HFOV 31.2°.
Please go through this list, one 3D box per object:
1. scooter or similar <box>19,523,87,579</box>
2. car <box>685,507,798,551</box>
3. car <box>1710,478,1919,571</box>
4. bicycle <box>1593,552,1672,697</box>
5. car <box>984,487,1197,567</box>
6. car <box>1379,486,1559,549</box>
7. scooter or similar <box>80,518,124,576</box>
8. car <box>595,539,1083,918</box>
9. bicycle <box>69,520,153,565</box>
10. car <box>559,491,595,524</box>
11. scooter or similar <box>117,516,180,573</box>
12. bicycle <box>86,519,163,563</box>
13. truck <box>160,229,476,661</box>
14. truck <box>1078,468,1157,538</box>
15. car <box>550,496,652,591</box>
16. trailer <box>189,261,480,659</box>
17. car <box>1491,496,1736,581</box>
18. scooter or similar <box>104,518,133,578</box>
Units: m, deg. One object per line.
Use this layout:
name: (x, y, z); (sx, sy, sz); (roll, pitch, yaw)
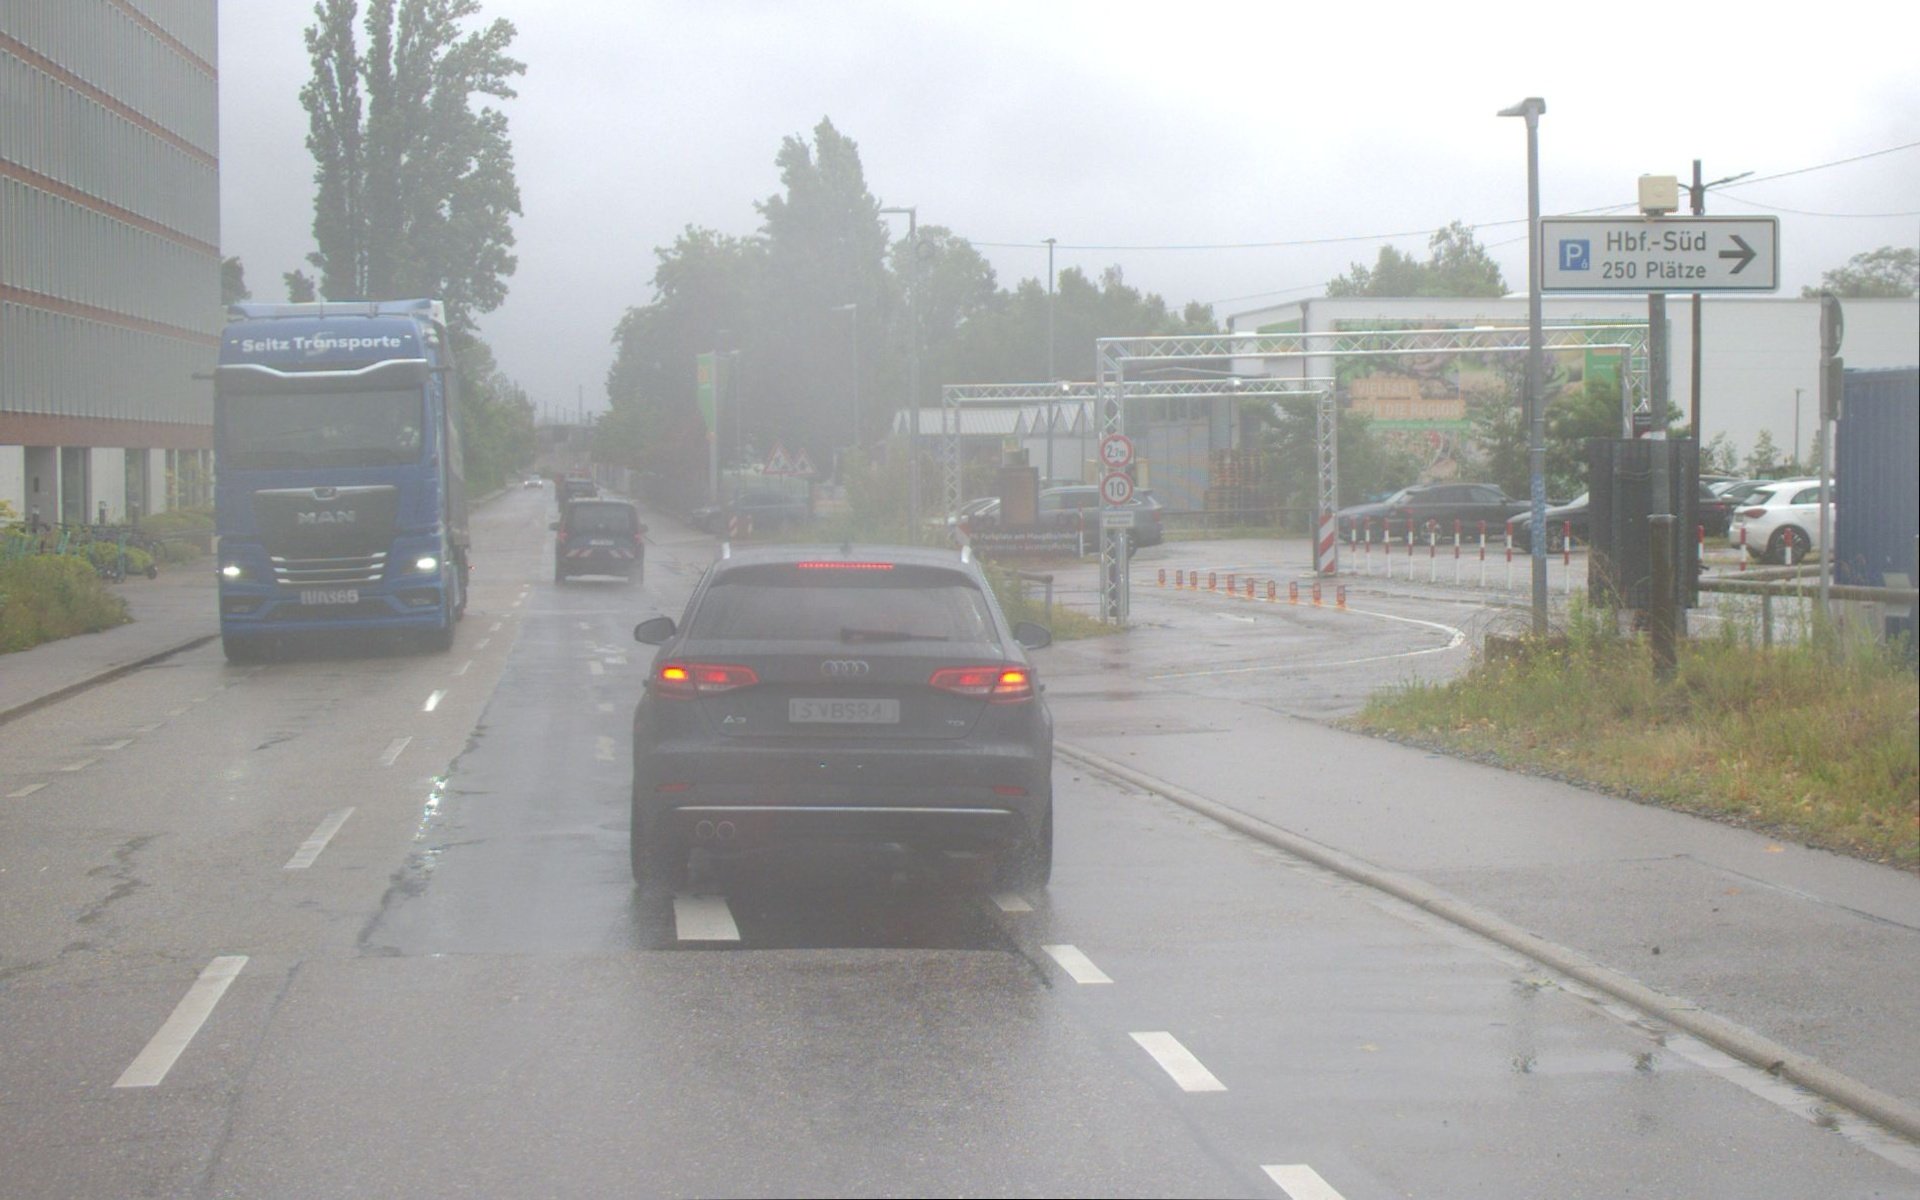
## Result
scooter or similar: (-19.404, -1.056, 73.556); (1.316, 1.173, 0.467); (-1, 2, 0)
car: (-8.040, -2.615, 126.645); (4.135, 1.563, 1.765); (0, 1, -4)
car: (15.468, -1.337, 60.935); (3.829, 1.479, 1.928); (-3, 1, -3)
bicycle: (5.352, 0.180, 27.319); (0.507, 1.080, 1.702); (0, 2, 15)
car: (2.948, -1.653, 78.213); (4.680, 1.729, 2.128); (-1, 1, -2)
car: (12.402, -2.007, 83.934); (3.986, 1.480, 2.000); (0, 0, -5)
scooter or similar: (-18.567, -1.152, 74.380); (0.466, 1.226, 1.321); (-2, 2, -35)
car: (-0.634, 0.475, 15.691); (1.894, 1.451, 4.228); (1, 1, -4)
bicycle: (-21.132, -1.426, 85.625); (1.948, 1.073, 0.621); (1, 1, -7)
car: (-19.940, -4.804, 179.039); (1.730, 1.681, 3.898); (0, 1, -4)
scooter or similar: (-17.885, -1.224, 75.777); (1.318, 1.226, 0.467); (0, 2, 23)
bicycle: (-21.603, -1.520, 88.936); (1.859, 1.073, 0.544); (1, 1, -7)
truck: (-7.342, -1.759, 40.101); (3.293, 4.637, 6.035); (-1, 2, -8)
truck: (6.201, -3.891, 136.309); (2.301, 2.650, 7.418); (-1, 2, -3)
car: (-7.539, -1.211, 71.959); (1.993, 1.904, 4.202); (-1, 2, -7)
trailer: (-8.281, -1.837, 47.166); (3.293, 4.637, 13.737); (-1, 2, -8)
car: (13.723, -1.288, 72.261); (4.618, 1.710, 2.020); (0, 0, -12)
scooter or similar: (-17.881, -1.112, 73.041); (0.466, 1.226, 1.321); (-1, 2, -9)
